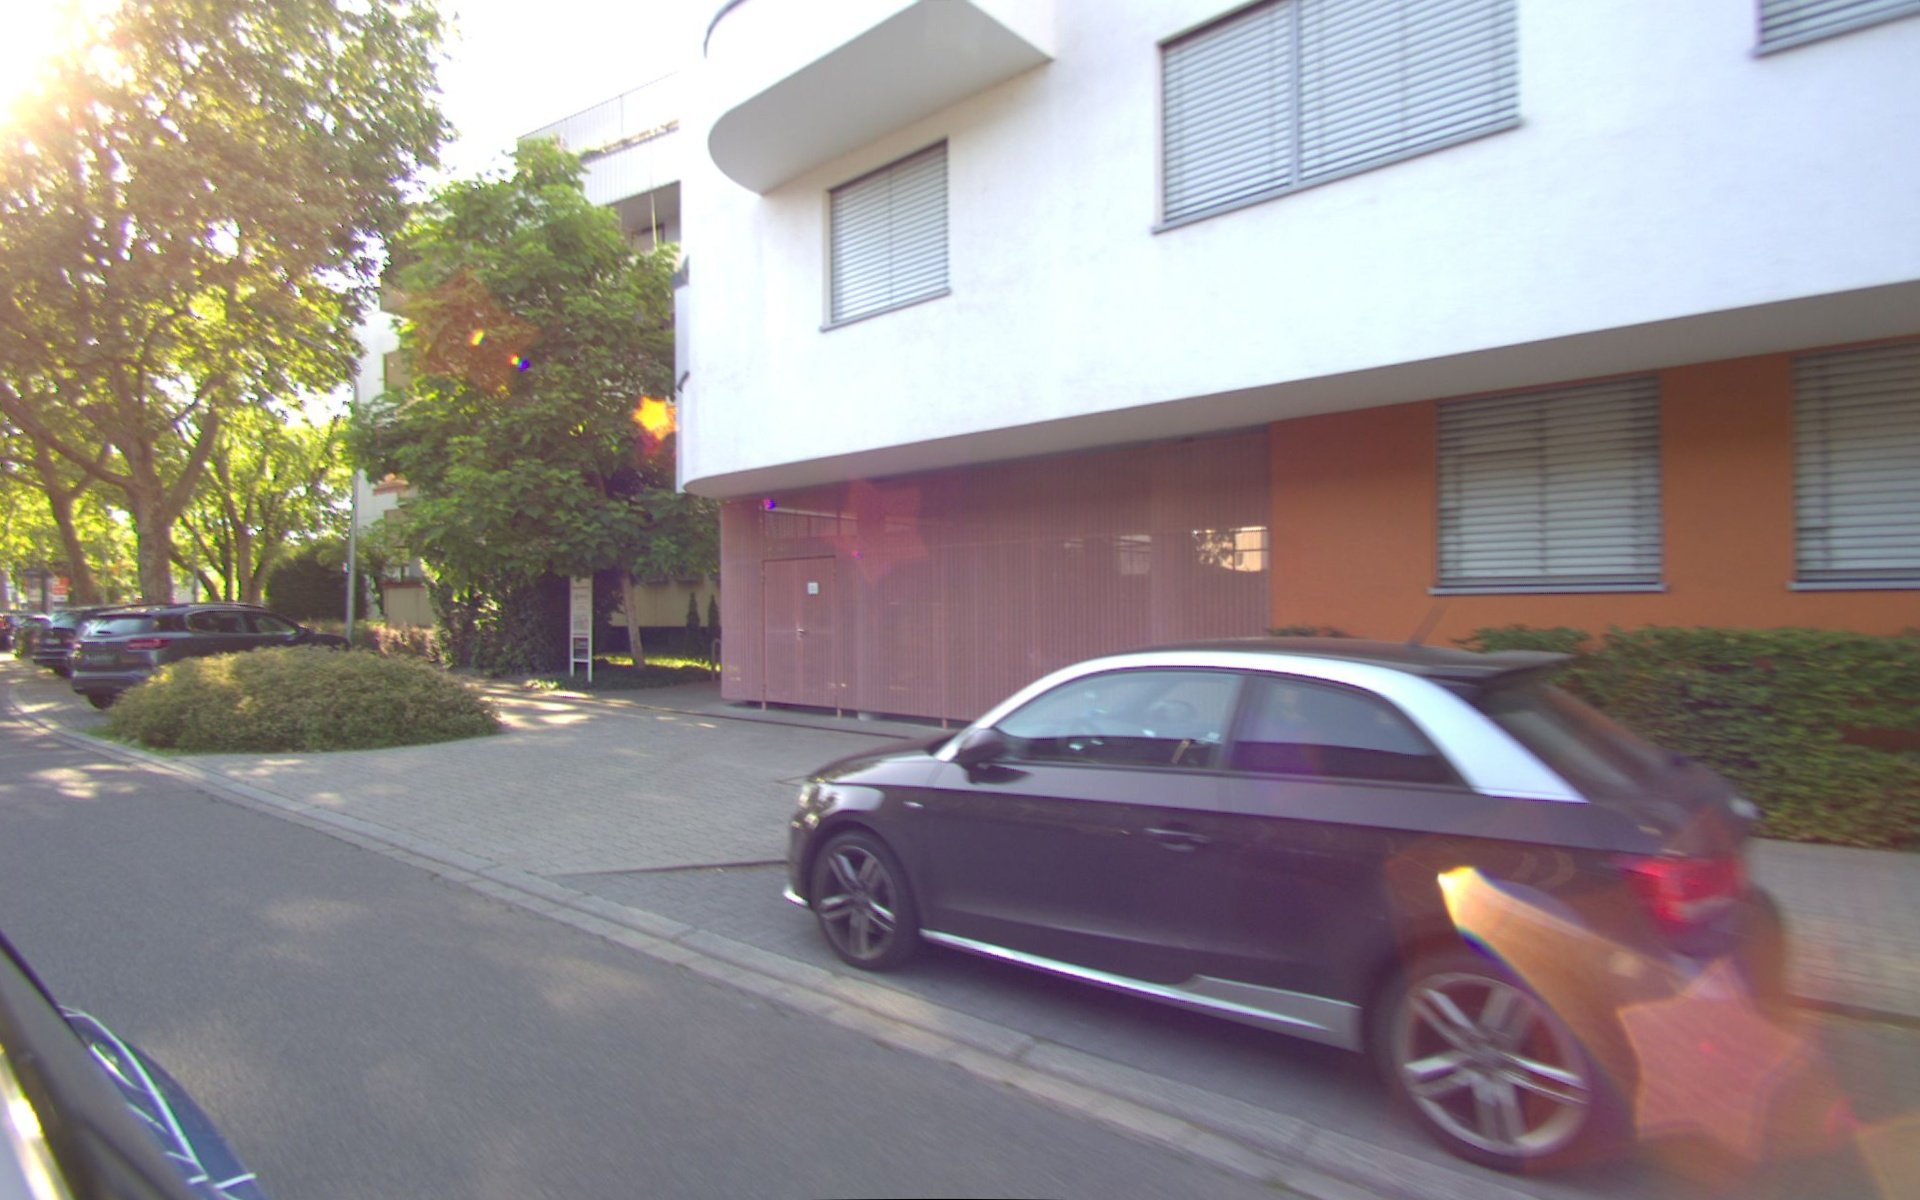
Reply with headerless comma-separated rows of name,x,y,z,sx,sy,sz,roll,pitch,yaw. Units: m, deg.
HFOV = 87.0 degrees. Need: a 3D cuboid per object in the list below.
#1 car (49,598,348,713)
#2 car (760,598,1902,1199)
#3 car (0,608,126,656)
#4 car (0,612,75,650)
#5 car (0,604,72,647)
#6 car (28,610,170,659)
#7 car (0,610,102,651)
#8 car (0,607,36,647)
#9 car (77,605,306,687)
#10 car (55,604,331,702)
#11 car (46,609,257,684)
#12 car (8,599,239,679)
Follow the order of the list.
car,-12.713,0.844,17.234,1.682,1.675,3.946,-1,1,11
car,1.092,0.758,4.041,3.766,1.444,1.658,-1,2,39
car,-34.943,1.205,39.339,1.634,1.674,3.635,-1,1,13
car,-41.771,1.348,44.802,1.638,1.572,3.575,-1,1,21
car,-43.901,1.176,46.704,1.822,1.896,3.969,-1,1,23
car,-30.944,1.206,36.502,1.692,1.572,3.636,-1,1,12
car,-39.760,1.275,43.575,1.787,1.637,3.967,-1,0,24
car,-46.458,1.312,47.743,1.700,1.900,3.984,-1,1,13
car,-16.678,0.928,22.137,1.692,1.572,3.616,-1,1,28
car,-14.855,0.942,19.923,1.761,1.652,4.120,-1,1,15
car,-19.059,1.038,24.058,1.684,1.572,3.634,-1,1,14
car,-21.177,0.917,25.863,1.889,1.788,4.247,-1,1,16
